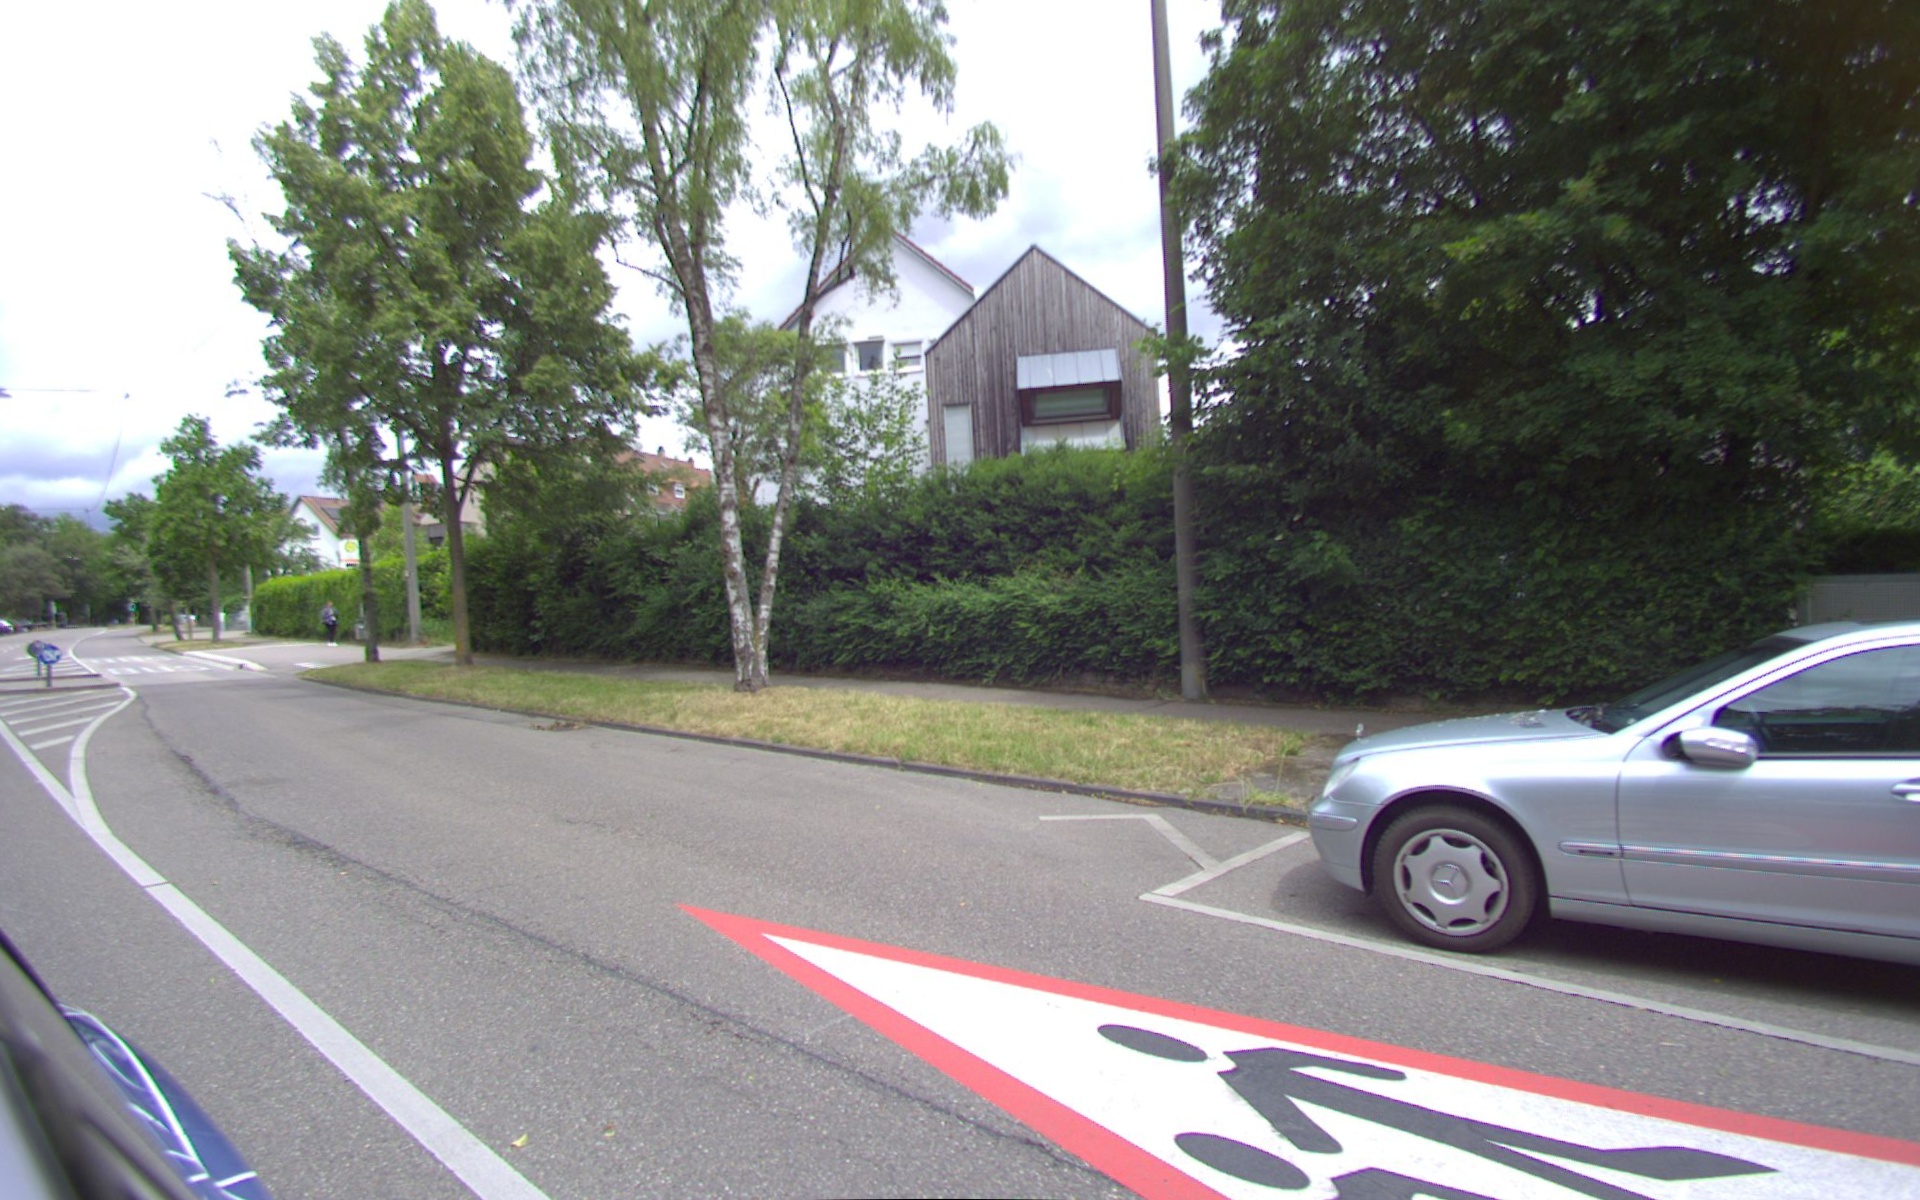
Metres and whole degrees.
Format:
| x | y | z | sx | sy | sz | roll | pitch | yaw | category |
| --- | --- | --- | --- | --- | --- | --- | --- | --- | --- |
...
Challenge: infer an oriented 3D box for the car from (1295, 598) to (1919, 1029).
| x | y | z | sx | sy | sz | roll | pitch | yaw | category |
| --- | --- | --- | --- | --- | --- | --- | --- | --- | --- |
| 3.821 | 0.710 | 3.959 | 4.462 | 1.427 | 1.720 | -2 | -1 | 35 | car |

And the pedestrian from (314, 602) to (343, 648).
| x | y | z | sx | sy | sz | roll | pitch | yaw | category |
| --- | --- | --- | --- | --- | --- | --- | --- | --- | --- |
| -24.221 | 0.970 | 38.806 | 0.778 | 1.723 | 0.684 | -2 | 0 | 41 | pedestrian |
